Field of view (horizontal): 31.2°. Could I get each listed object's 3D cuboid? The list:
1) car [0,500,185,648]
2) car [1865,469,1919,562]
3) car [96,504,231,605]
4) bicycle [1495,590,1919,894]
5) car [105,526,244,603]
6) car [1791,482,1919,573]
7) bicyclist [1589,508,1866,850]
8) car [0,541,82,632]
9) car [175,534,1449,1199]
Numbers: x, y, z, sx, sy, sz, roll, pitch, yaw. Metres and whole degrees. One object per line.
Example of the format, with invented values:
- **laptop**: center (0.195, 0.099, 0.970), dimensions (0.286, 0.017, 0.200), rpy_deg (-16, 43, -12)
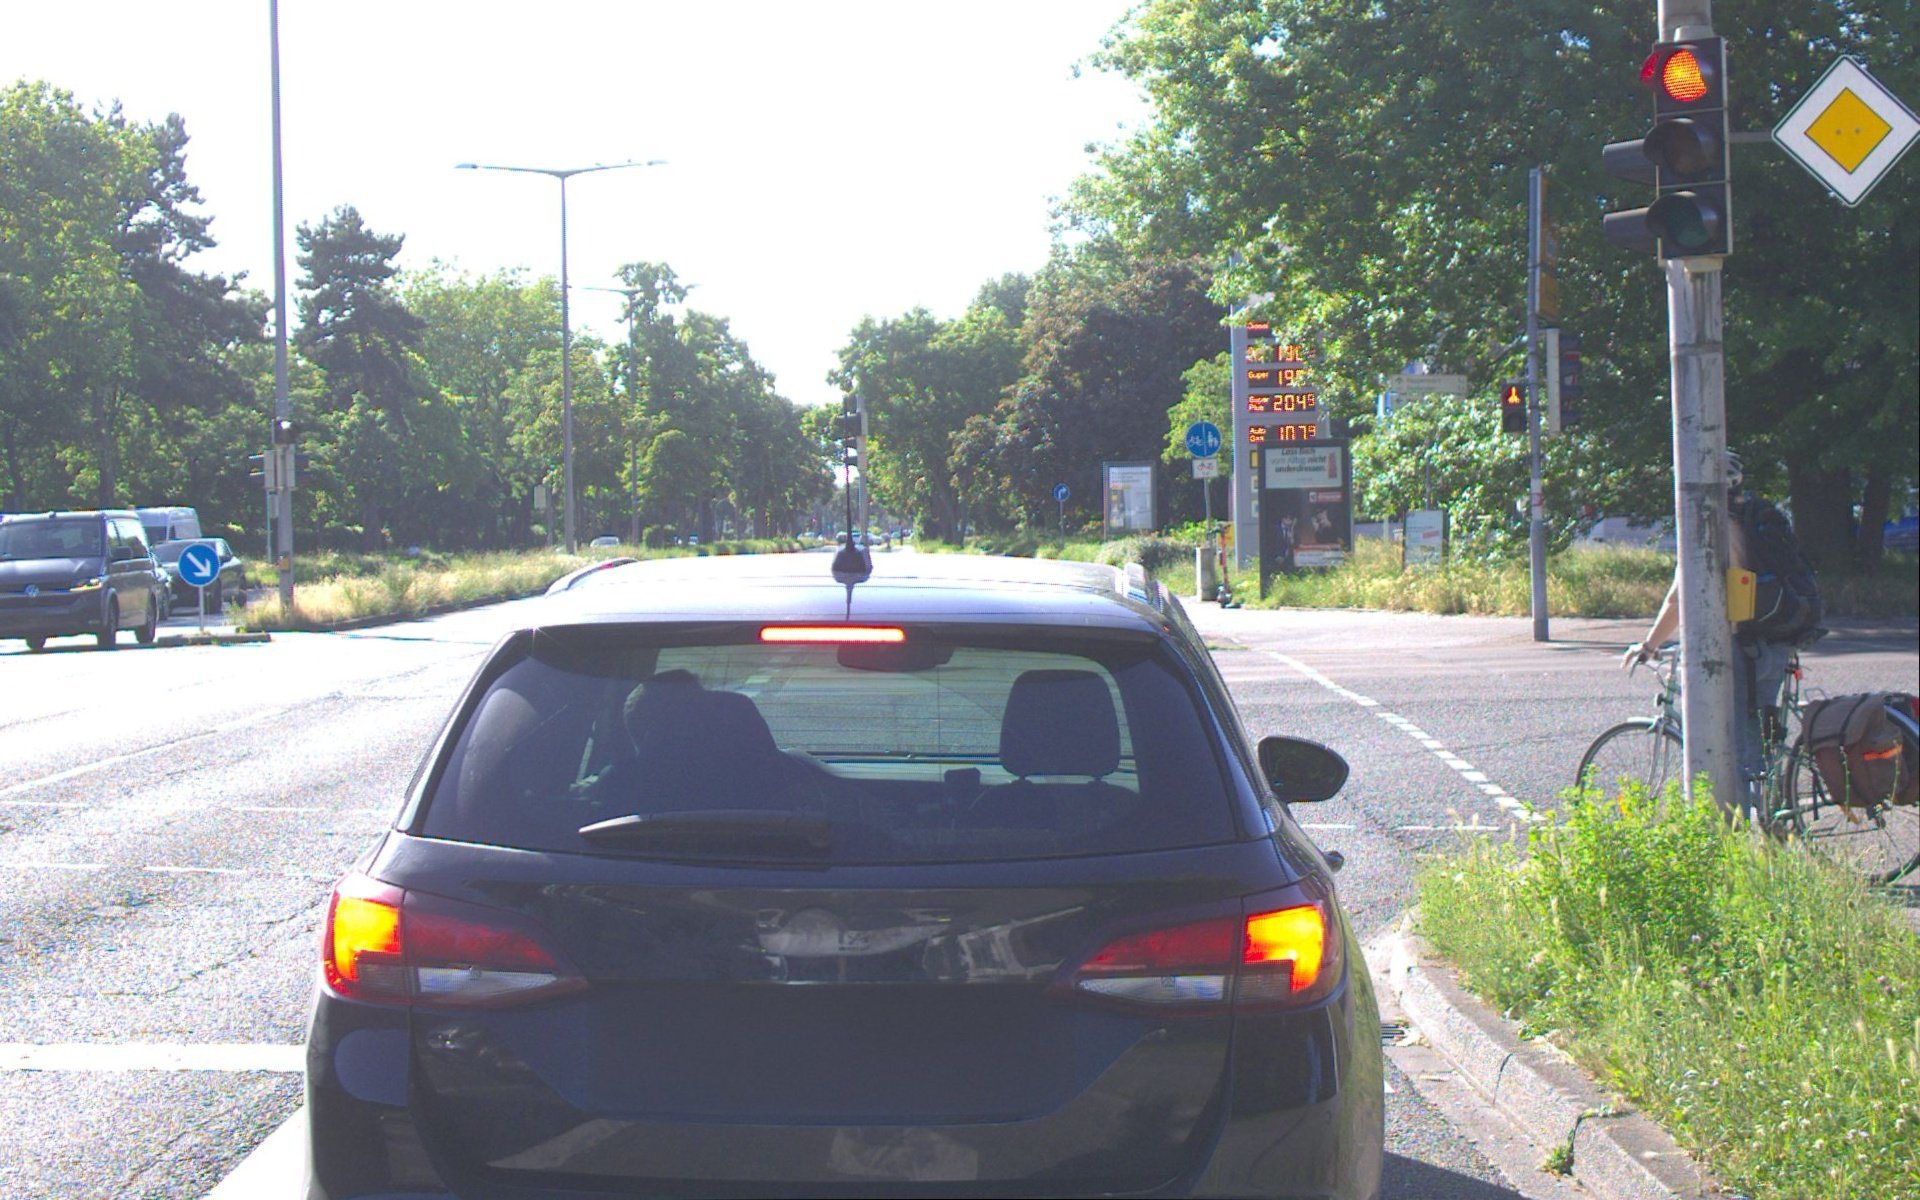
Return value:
- **car**: center (-12.658, -0.400, 49.370), dimensions (1.911, 1.985, 5.016), rpy_deg (-1, 1, -1)
- **car**: center (17.096, -1.432, 56.727), dimensions (3.887, 1.512, 1.746), rpy_deg (-2, 1, -23)
- **car**: center (-20.535, -1.199, 88.871), dimensions (2.100, 2.484, 6.004), rpy_deg (-2, 1, -1)
- **bicycle**: center (2.983, 0.546, 13.344), dimensions (0.536, 1.094, 1.775), rpy_deg (-3, 0, -44)
- **car**: center (-17.200, -0.812, 75.509), dimensions (1.993, 1.596, 4.616), rpy_deg (-1, 1, -1)
- **car**: center (16.620, -1.291, 59.813), dimensions (3.887, 1.512, 1.746), rpy_deg (-2, 1, -23)
- **bicyclist**: center (2.974, 0.305, 13.342), dimensions (0.536, 1.272, 0.829), rpy_deg (-3, 0, -44)
- **car**: center (-17.038, -0.248, 60.755), dimensions (1.888, 1.519, 4.504), rpy_deg (-1, 1, -1)
- **car**: center (-0.229, 0.631, 6.858), dimensions (1.756, 1.490, 4.207), rpy_deg (0, 1, -1)
